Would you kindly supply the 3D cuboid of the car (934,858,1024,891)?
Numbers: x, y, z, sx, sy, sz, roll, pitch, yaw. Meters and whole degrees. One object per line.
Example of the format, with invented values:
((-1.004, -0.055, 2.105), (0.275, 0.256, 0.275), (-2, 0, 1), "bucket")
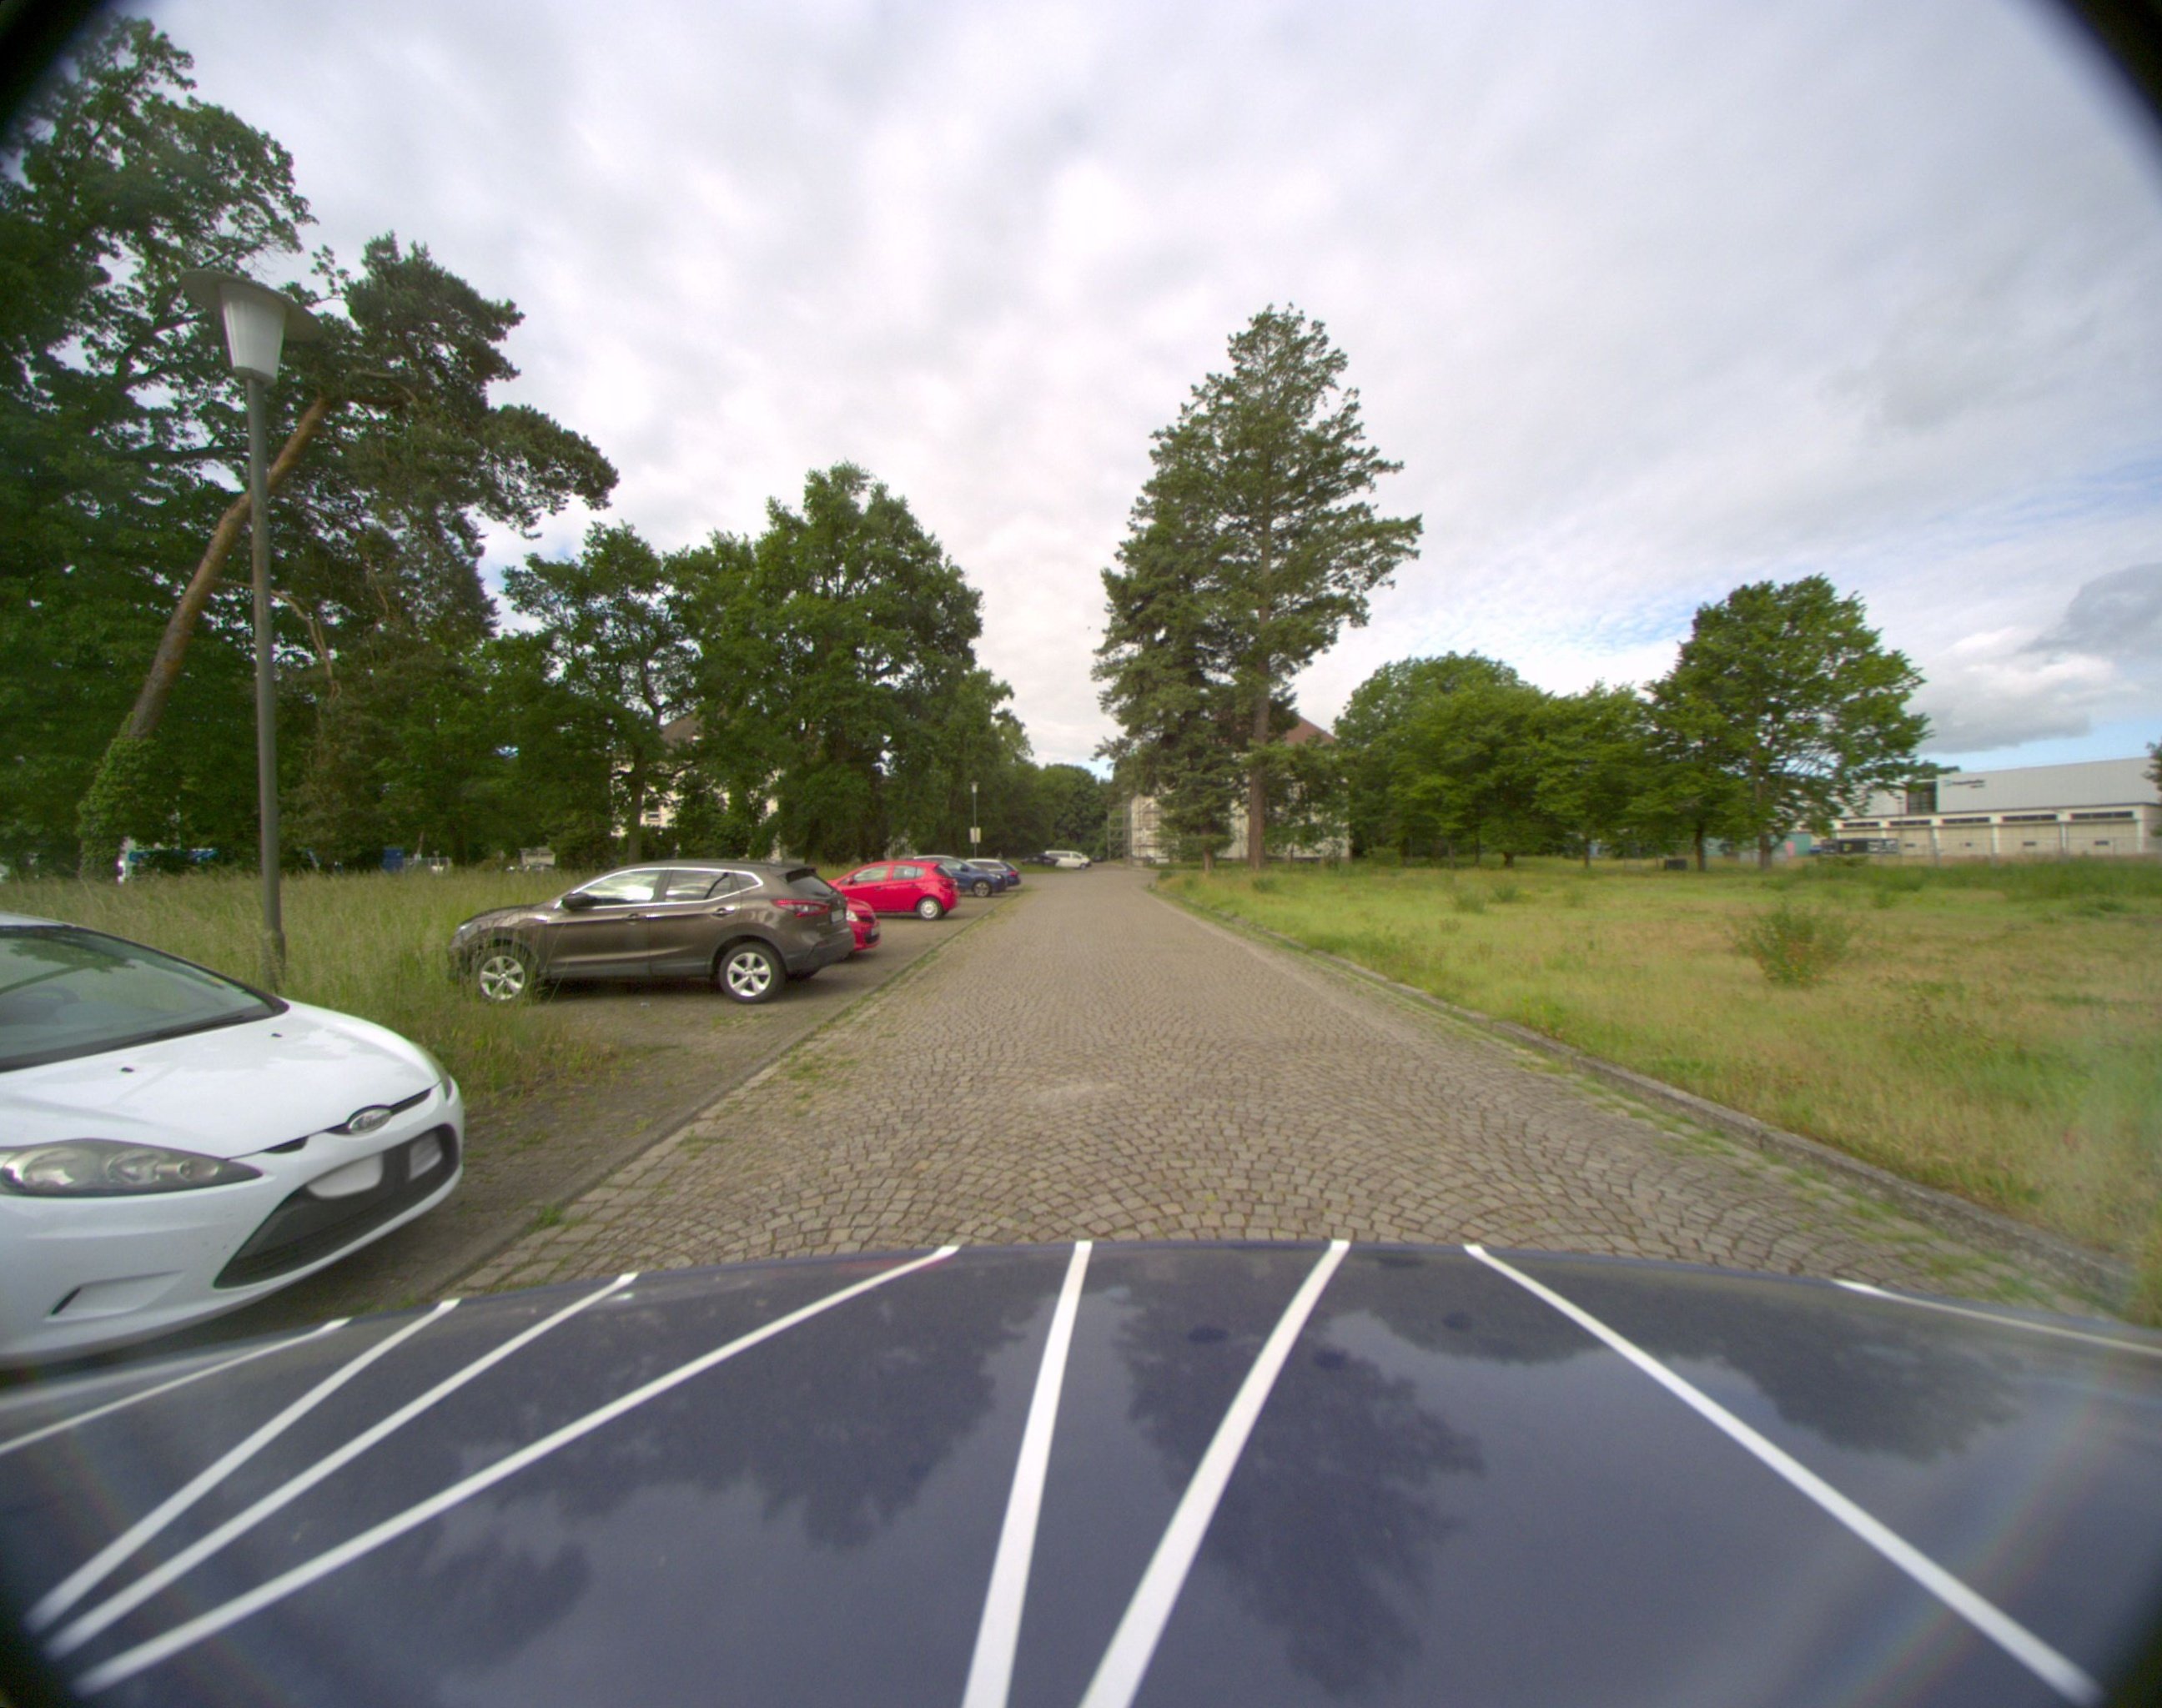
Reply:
((-4.540, 0.914, 34.218), (3.878, 1.417, 1.582), (1, 0, -2), "car")

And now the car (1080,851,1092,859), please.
((0.991, 0.156, 149.456), (1.870, 1.408, 4.694), (1, 0, -4), "car")

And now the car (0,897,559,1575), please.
((-4.515, 0.981, 2.770), (3.873, 1.463, 1.841), (3, 0, -2), "car")

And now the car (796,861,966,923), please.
((-4.991, 0.937, 19.314), (3.895, 1.451, 1.582), (1, 1, -2), "car")

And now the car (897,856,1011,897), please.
((-4.874, 0.862, 29.556), (4.150, 1.529, 1.582), (1, 1, -2), "car")

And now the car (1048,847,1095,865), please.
((-1.028, 0.225, 83.032), (5.141, 1.860, 1.723), (1, 1, -2), "car")

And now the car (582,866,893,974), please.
((-5.140, 0.961, 11.764), (4.016, 1.477, 1.765), (1, 0, 0), "car")

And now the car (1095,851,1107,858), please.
((3.875, 0.073, 150.015), (1.870, 1.408, 4.694), (1, 0, -4), "car")

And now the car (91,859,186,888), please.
((-68.722, 1.378, 55.497), (1.999, 2.002, 3.998), (-1, 0, -5), "car")

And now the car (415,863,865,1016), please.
((-4.960, 0.931, 9.037), (4.271, 1.589, 1.821), (1, 0, -2), "car")
